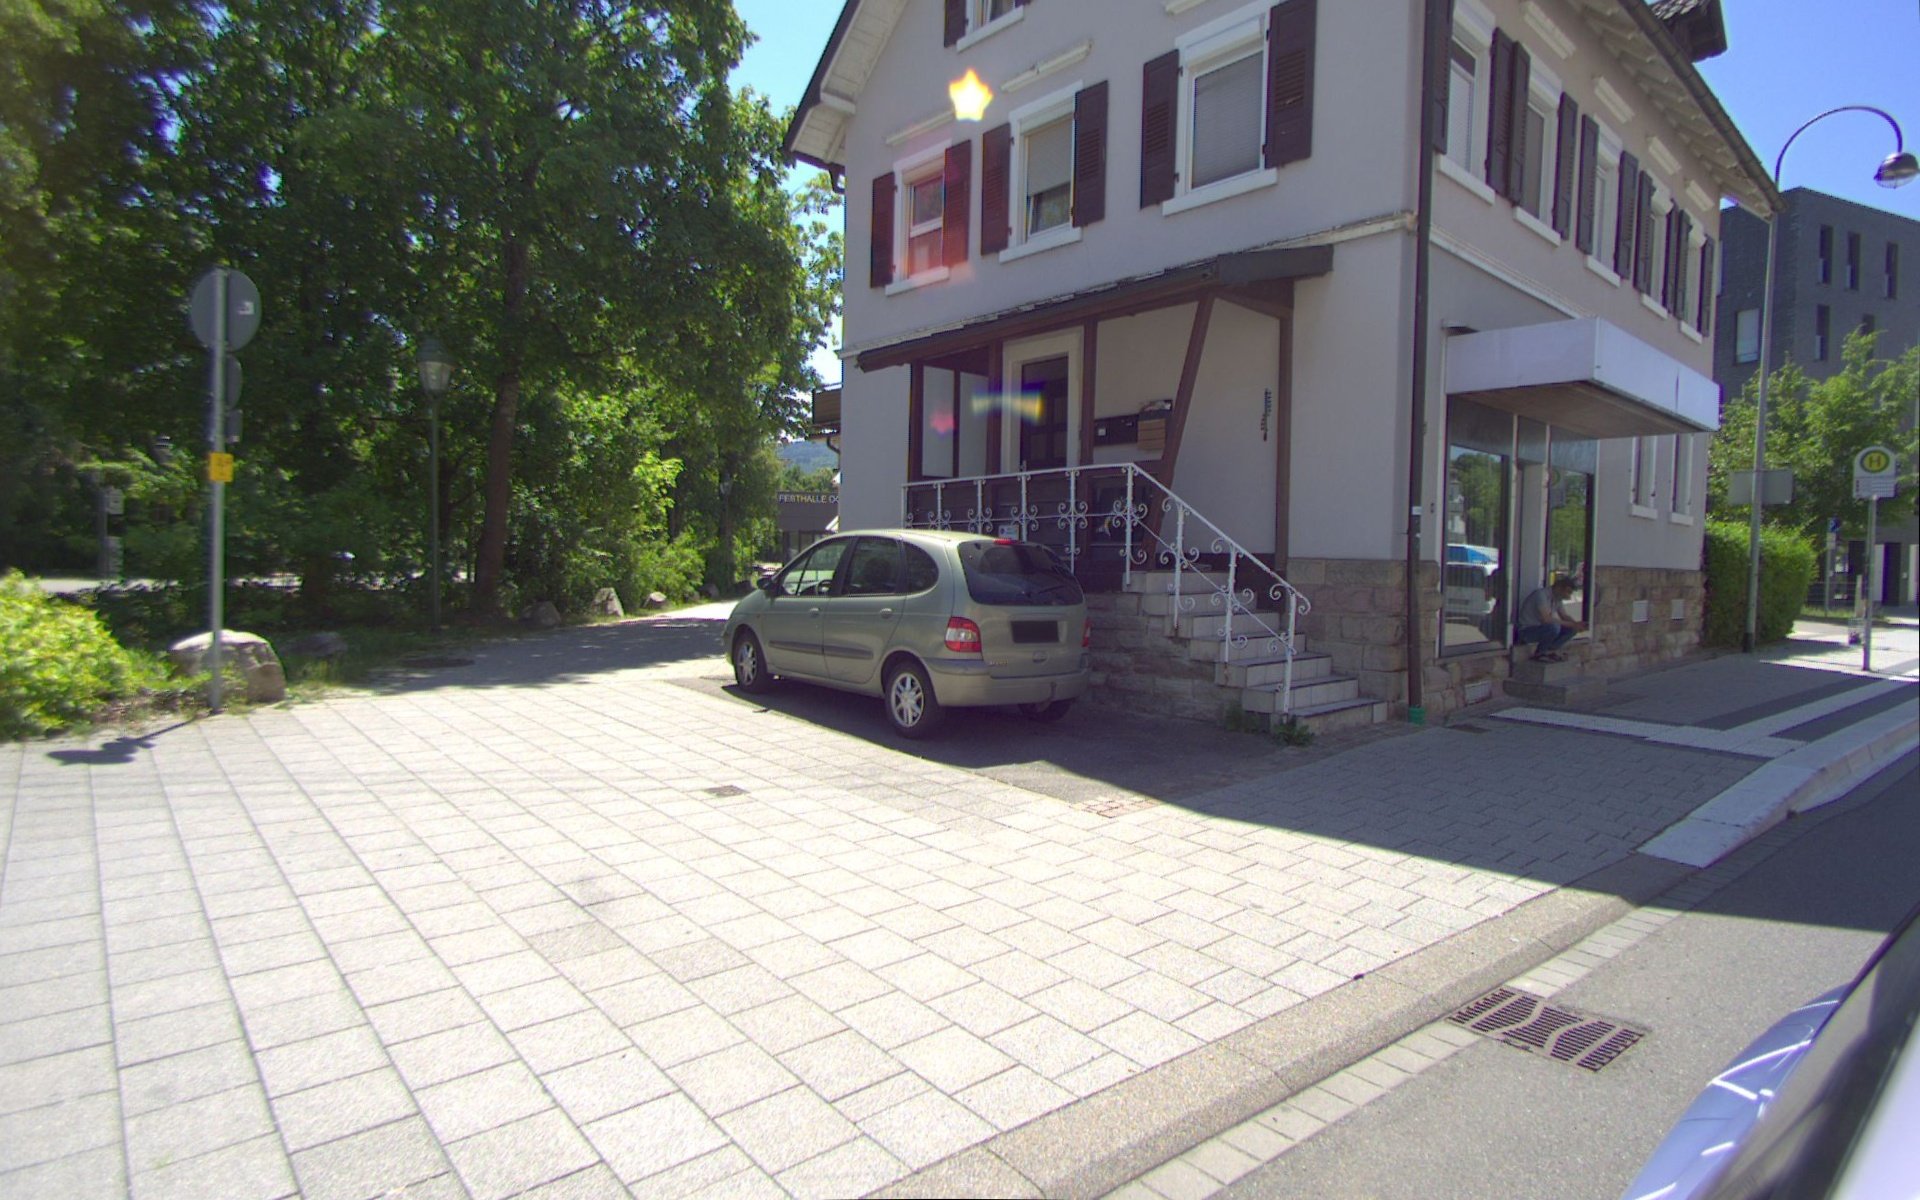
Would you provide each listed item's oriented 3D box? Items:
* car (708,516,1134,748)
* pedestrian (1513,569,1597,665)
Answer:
[{"bbox_3d":[-0.574,0.089,9.296,1.770,1.614,4.071,-1,4,-40],"label":"car"},{"bbox_3d":[6.661,0.167,11.336,0.712,1.011,0.591,-1,4,-43],"label":"pedestrian"}]
